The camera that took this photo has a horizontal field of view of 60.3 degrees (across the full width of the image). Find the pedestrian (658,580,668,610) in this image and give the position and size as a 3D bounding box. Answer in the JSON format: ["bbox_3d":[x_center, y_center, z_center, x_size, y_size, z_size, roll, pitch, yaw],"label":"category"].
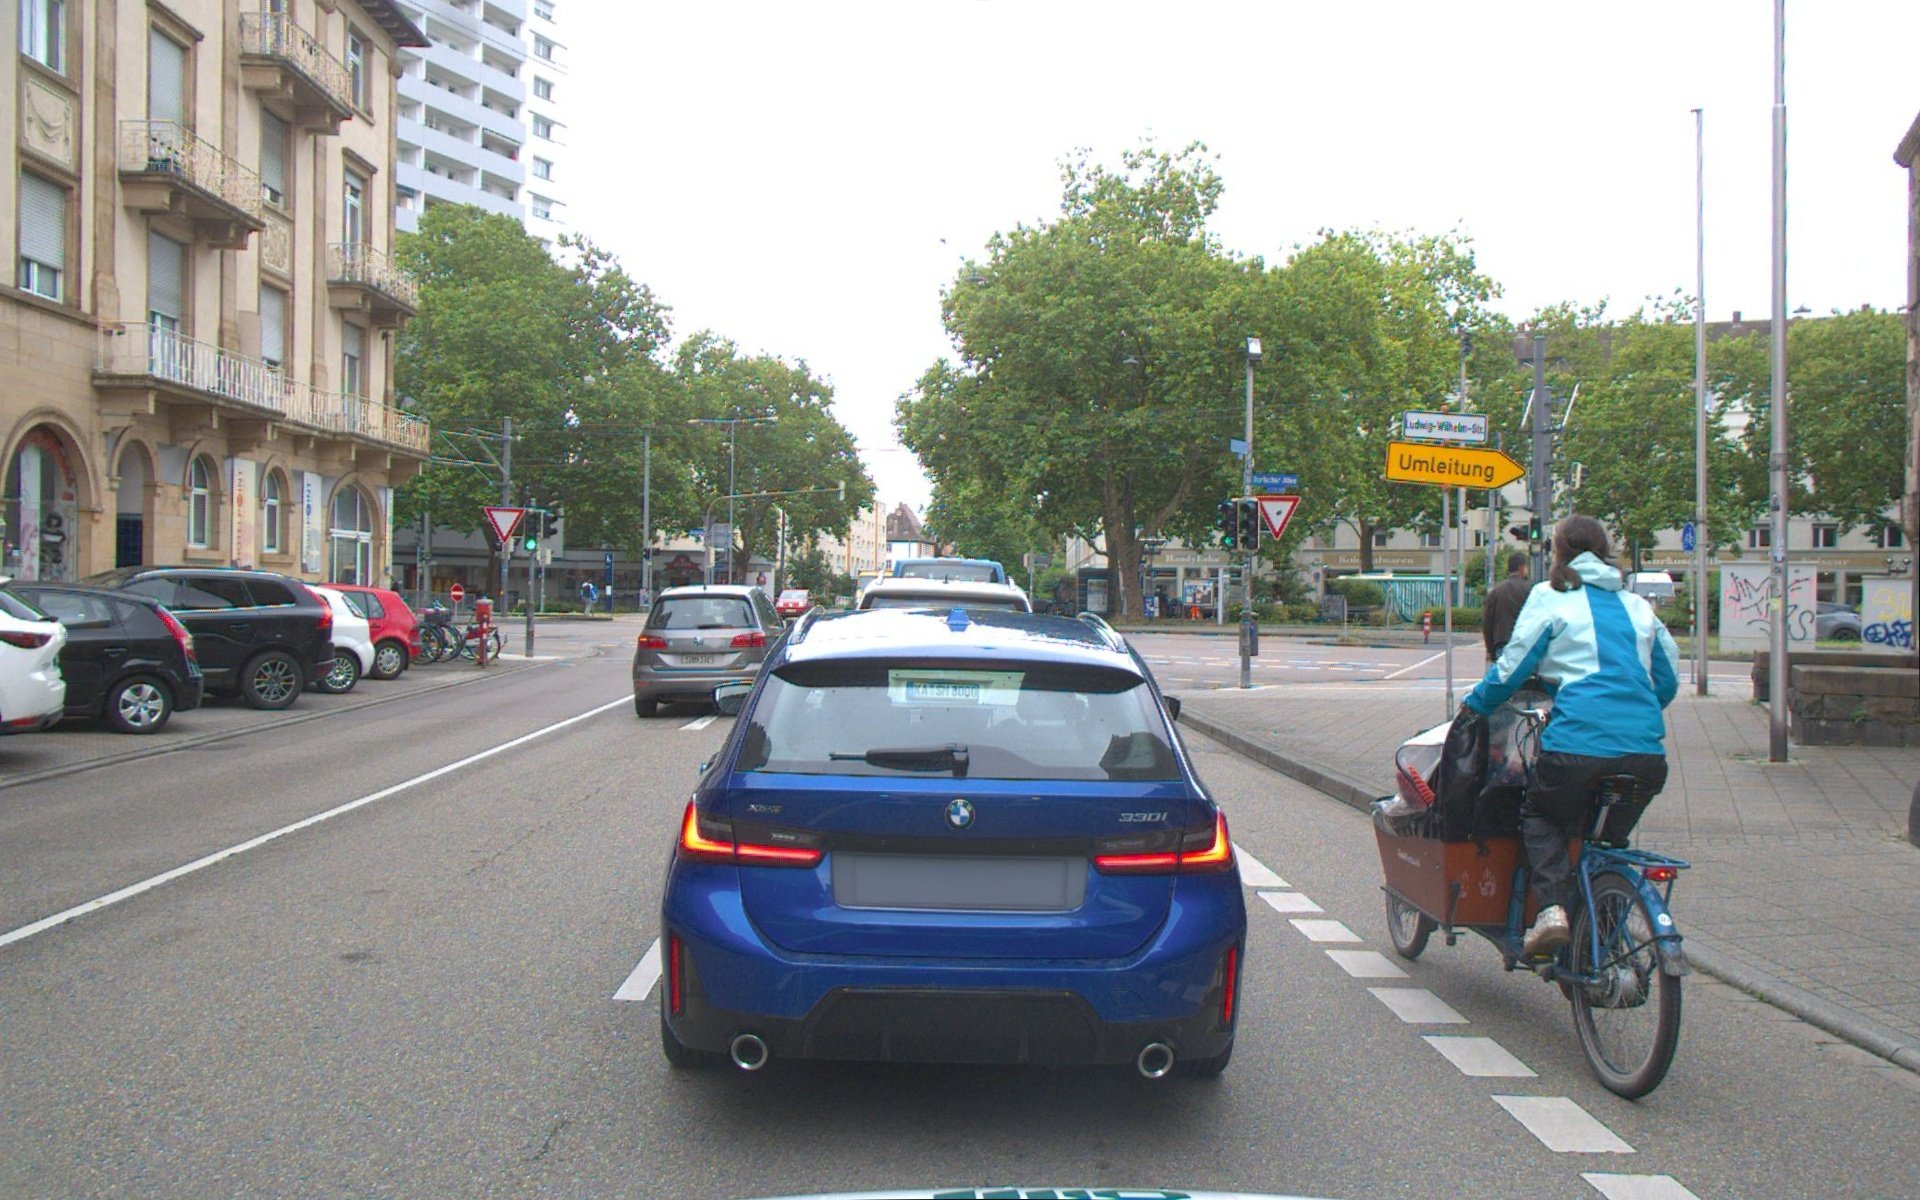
[{"bbox_3d":[-18.141,-0.321,101.110,0.561,1.802,0.513,0,0,-13],"label":"pedestrian"}]

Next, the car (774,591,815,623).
[{"bbox_3d":[-7.757,0.299,77.935,1.615,1.472,3.510,0,0,-1],"label":"car"}]

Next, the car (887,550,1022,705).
[{"bbox_3d":[-0.099,0.348,23.892,1.778,2.040,3.999,0,0,-1],"label":"car"}]

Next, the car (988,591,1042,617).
[{"bbox_3d":[3.850,0.274,115.870,3.802,1.771,1.762,0,0,2],"label":"car"}]

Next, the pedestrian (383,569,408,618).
[{"bbox_3d":[-21.064,-0.252,61.739,0.661,1.802,0.726,0,0,-1],"label":"pedestrian"}]

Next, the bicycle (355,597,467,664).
[{"bbox_3d":[-10.274,0.565,30.999,1.849,1.053,0.442,6,0,-3],"label":"bicycle"}]

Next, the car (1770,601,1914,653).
[{"bbox_3d":[28.262,0.845,53.109,3.895,1.589,1.687,0,0,22],"label":"car"}]

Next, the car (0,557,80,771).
[{"bbox_3d":[-9.594,0.489,13.692,3.937,1.754,1.826,1,0,-26],"label":"car"}]

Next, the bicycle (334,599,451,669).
[{"bbox_3d":[-10.224,0.610,29.802,1.849,1.053,0.442,6,0,-3],"label":"bicycle"}]

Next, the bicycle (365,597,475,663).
[{"bbox_3d":[-10.320,0.579,31.634,1.849,1.053,0.442,6,0,-3],"label":"bicycle"}]

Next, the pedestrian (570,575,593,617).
[{"bbox_3d":[-16.404,-0.162,71.774,0.664,1.802,0.722,0,0,41],"label":"pedestrian"}]

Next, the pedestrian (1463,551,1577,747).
[{"bbox_3d":[5.097,0.427,15.100,0.660,1.715,0.969,-2,0,-1],"label":"pedestrian"}]

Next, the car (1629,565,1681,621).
[{"bbox_3d":[34.751,-0.371,82.624,2.191,2.685,5.443,1,0,25],"label":"car"}]

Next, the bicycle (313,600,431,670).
[{"bbox_3d":[-10.300,0.612,28.985,1.848,1.053,0.442,5,0,2],"label":"bicycle"}]

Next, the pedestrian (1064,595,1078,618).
[{"bbox_3d":[6.991,0.412,104.094,0.801,1.396,0.762,0,0,-1],"label":"pedestrian"}]

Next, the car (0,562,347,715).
[{"bbox_3d":[-9.826,0.433,20.018,4.192,1.680,1.704,1,0,-44],"label":"car"}]

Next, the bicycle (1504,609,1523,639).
[{"bbox_3d":[19.397,0.815,57.912,0.540,1.013,2.061,0,0,21],"label":"bicycle"}]

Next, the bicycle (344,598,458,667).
[{"bbox_3d":[-10.246,0.590,30.338,1.849,1.053,0.442,6,0,-3],"label":"bicycle"}]

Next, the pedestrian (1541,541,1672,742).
[{"bbox_3d":[6.009,0.371,15.427,0.788,1.789,0.969,-2,0,-1],"label":"pedestrian"}]

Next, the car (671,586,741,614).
[{"bbox_3d":[-16.016,0.000,104.269,3.953,1.736,1.976,1,0,-35],"label":"car"}]

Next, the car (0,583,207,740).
[{"bbox_3d":[-9.933,0.587,16.689,3.959,1.521,1.708,1,0,-39],"label":"car"}]

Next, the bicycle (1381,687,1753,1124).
[{"bbox_3d":[2.008,0.929,5.796,0.484,1.117,2.138,0,0,-1],"label":"bicycle"}]

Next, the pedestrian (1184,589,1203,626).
[{"bbox_3d":[11.313,0.343,80.205,0.768,1.774,0.925,0,0,-2],"label":"pedestrian"}]

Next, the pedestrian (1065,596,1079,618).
[{"bbox_3d":[6.976,0.447,103.193,0.835,1.337,0.762,0,0,-1],"label":"pedestrian"}]

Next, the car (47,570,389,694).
[{"bbox_3d":[-10.090,0.471,22.678,3.968,1.498,1.540,3,0,-44],"label":"car"}]

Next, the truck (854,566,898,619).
[{"bbox_3d":[-4.009,-0.368,78.973,2.033,2.450,5.460,0,1,-3],"label":"truck"}]

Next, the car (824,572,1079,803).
[{"bbox_3d":[-0.087,0.602,13.625,1.778,1.620,3.999,0,0,-1],"label":"car"}]

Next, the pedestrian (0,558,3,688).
[{"bbox_3d":[-13.708,0.326,22.923,0.555,1.816,0.551,0,0,0],"label":"pedestrian"}]

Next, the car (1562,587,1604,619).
[{"bbox_3d":[30.725,0.137,81.515,1.632,1.542,3.935,1,0,25],"label":"car"}]

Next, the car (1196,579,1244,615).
[{"bbox_3d":[16.953,-0.193,107.653,2.130,2.239,3.999,0,0,23],"label":"car"}]

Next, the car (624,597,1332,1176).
[{"bbox_3d":[0.018,0.719,6.327,1.778,1.430,4.319,0,0,-1],"label":"car"}]

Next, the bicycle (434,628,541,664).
[{"bbox_3d":[-9.474,0.919,33.235,1.849,0.453,1.028,6,2,-3],"label":"bicycle"}]

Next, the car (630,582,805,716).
[{"bbox_3d":[-3.009,0.561,21.244,1.697,1.551,3.999,0,0,-1],"label":"car"}]

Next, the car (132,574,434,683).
[{"bbox_3d":[-10.358,0.439,25.508,1.653,1.498,3.978,3,1,40],"label":"car"}]

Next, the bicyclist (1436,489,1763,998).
[{"bbox_3d":[2.097,0.433,5.556,0.672,1.544,1.058,0,0,-1],"label":"bicyclist"}]

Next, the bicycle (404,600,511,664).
[{"bbox_3d":[-9.777,0.619,32.190,1.849,1.053,0.442,6,0,-3],"label":"bicycle"}]

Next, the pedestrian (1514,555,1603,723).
[{"bbox_3d":[6.283,0.396,17.404,0.619,1.702,0.970,-2,0,6],"label":"pedestrian"}]
